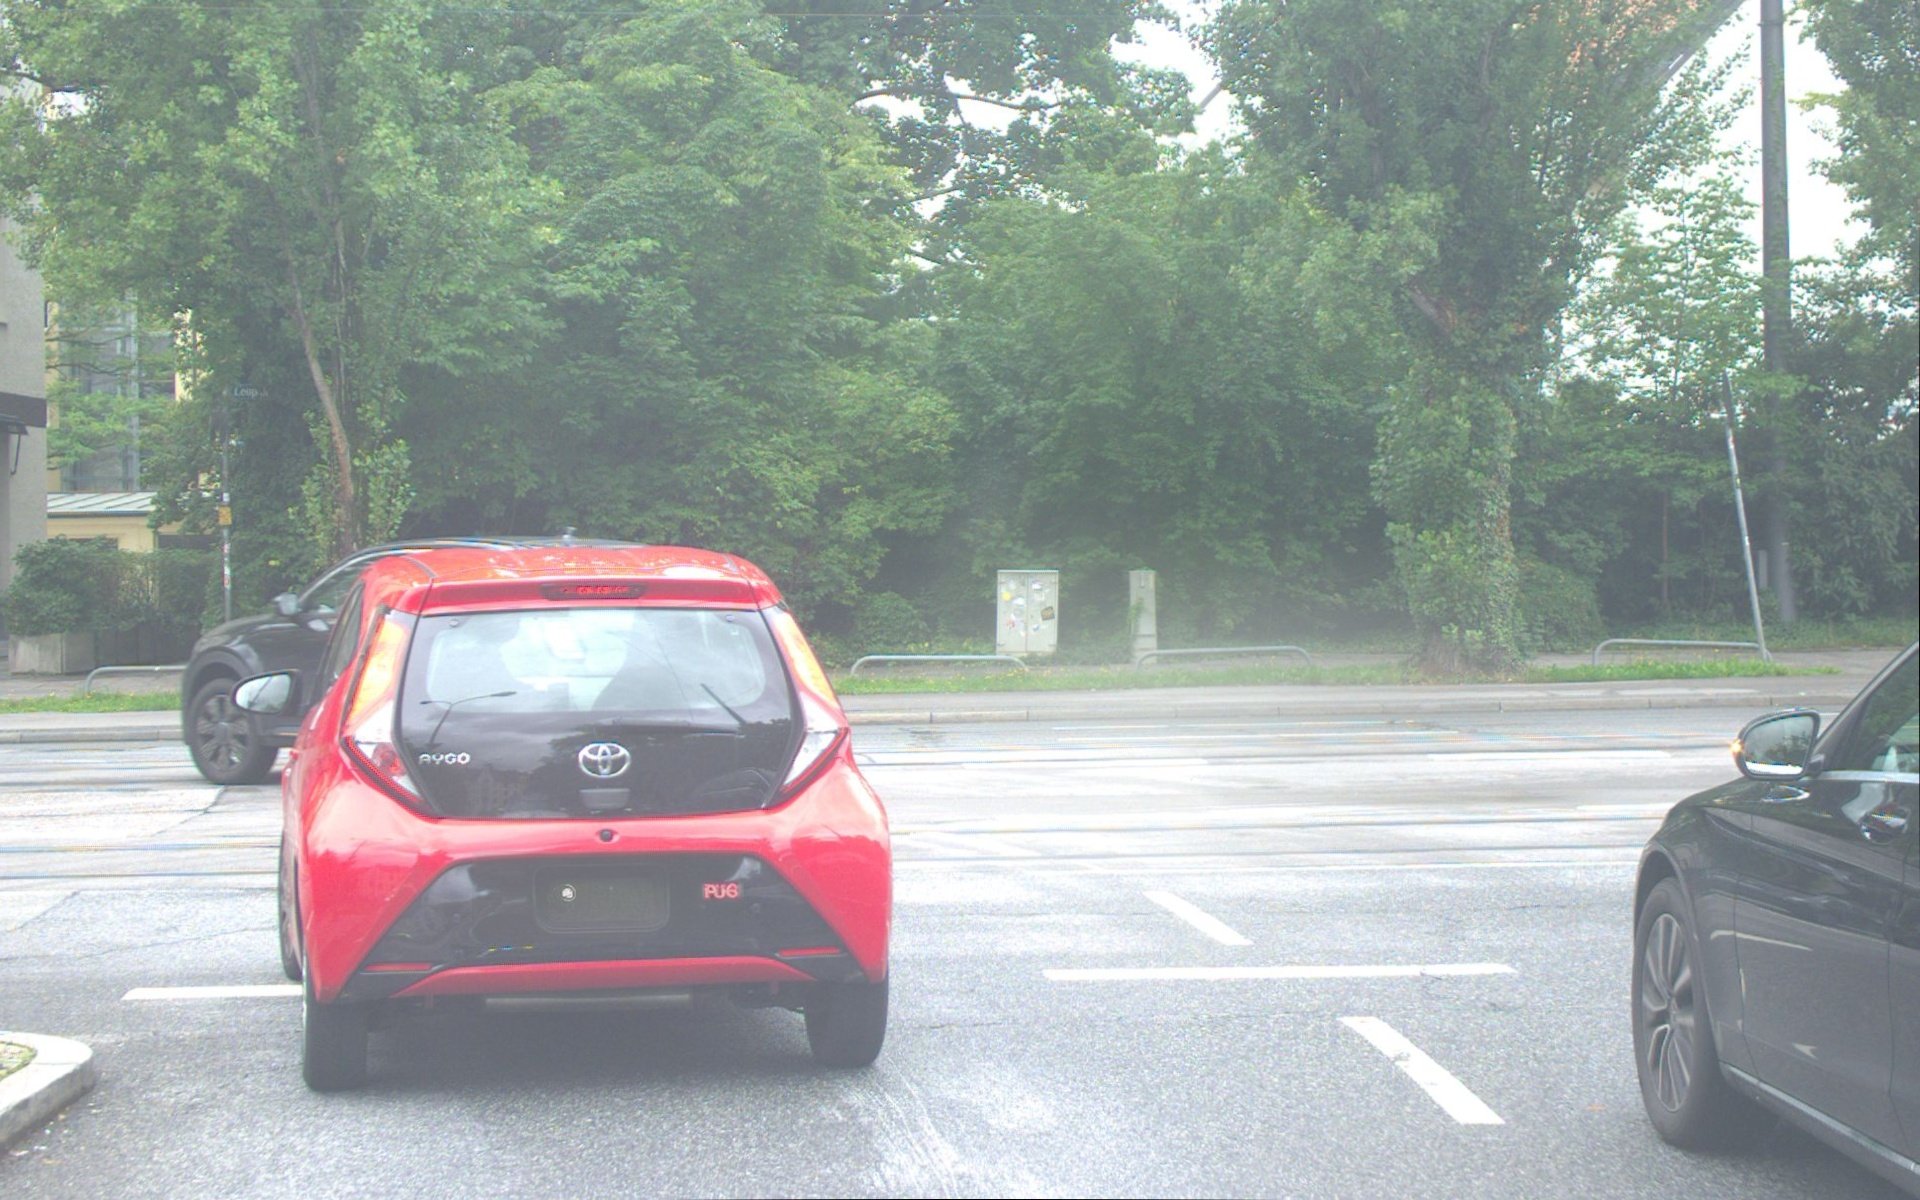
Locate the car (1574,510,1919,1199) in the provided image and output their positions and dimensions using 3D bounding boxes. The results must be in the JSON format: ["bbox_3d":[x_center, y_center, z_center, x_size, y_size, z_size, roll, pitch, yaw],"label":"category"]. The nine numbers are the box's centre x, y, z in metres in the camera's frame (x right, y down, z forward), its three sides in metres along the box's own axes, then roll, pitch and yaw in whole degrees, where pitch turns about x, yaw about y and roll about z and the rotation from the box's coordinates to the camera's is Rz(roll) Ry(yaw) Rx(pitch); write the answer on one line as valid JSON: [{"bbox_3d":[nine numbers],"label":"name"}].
[{"bbox_3d":[2.609,0.600,6.614,1.863,1.544,4.704,0,1,-2],"label":"car"}]

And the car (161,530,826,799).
[{"bbox_3d":[-2.910,0.357,21.000,3.996,1.481,1.782,-1,1,40],"label":"car"}]

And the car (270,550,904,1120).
[{"bbox_3d":[-1.287,0.576,10.612,1.628,1.435,3.377,-1,1,-11],"label":"car"}]
